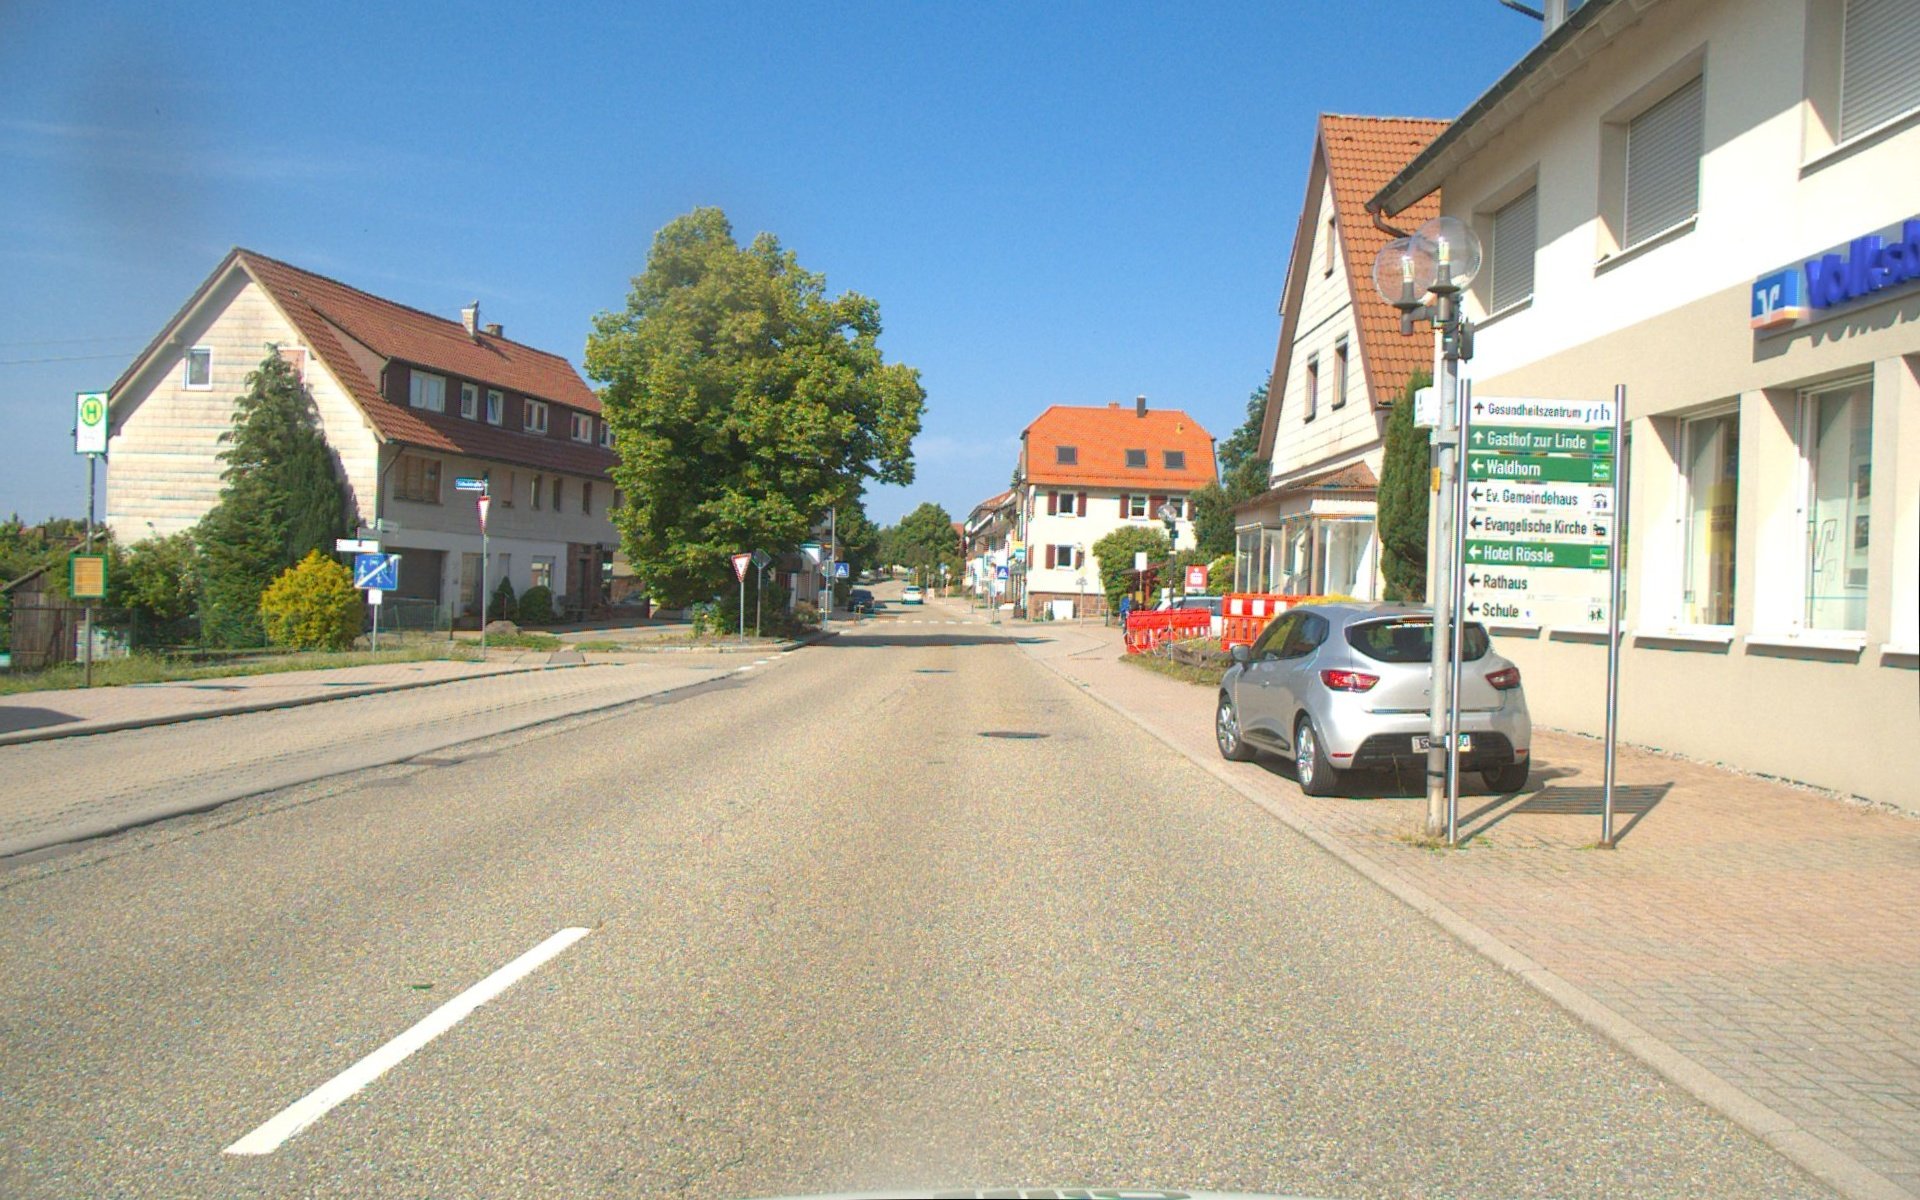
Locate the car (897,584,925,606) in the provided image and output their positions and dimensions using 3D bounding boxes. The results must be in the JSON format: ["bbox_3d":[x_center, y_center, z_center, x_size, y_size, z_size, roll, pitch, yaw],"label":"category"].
[{"bbox_3d":[-4.754,-0.498,160.023,2.447,2.049,4.300,-1,0,-5],"label":"car"}]

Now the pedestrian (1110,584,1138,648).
[{"bbox_3d":[4.700,0.458,47.437,0.782,1.815,0.980,0,0,4],"label":"pedestrian"}]

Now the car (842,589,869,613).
[{"bbox_3d":[-7.529,0.050,119.782,1.639,1.559,3.535,5,0,-1],"label":"car"}]

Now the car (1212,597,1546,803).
[{"bbox_3d":[3.338,0.717,13.935,1.603,1.444,3.932,-1,0,-4],"label":"car"}]

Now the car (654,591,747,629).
[{"bbox_3d":[-11.568,0.447,73.881,3.679,1.480,1.819,-1,-5,11],"label":"car"}]

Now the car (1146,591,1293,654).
[{"bbox_3d":[7.009,0.576,44.523,3.779,1.585,1.965,1,1,12],"label":"car"}]
